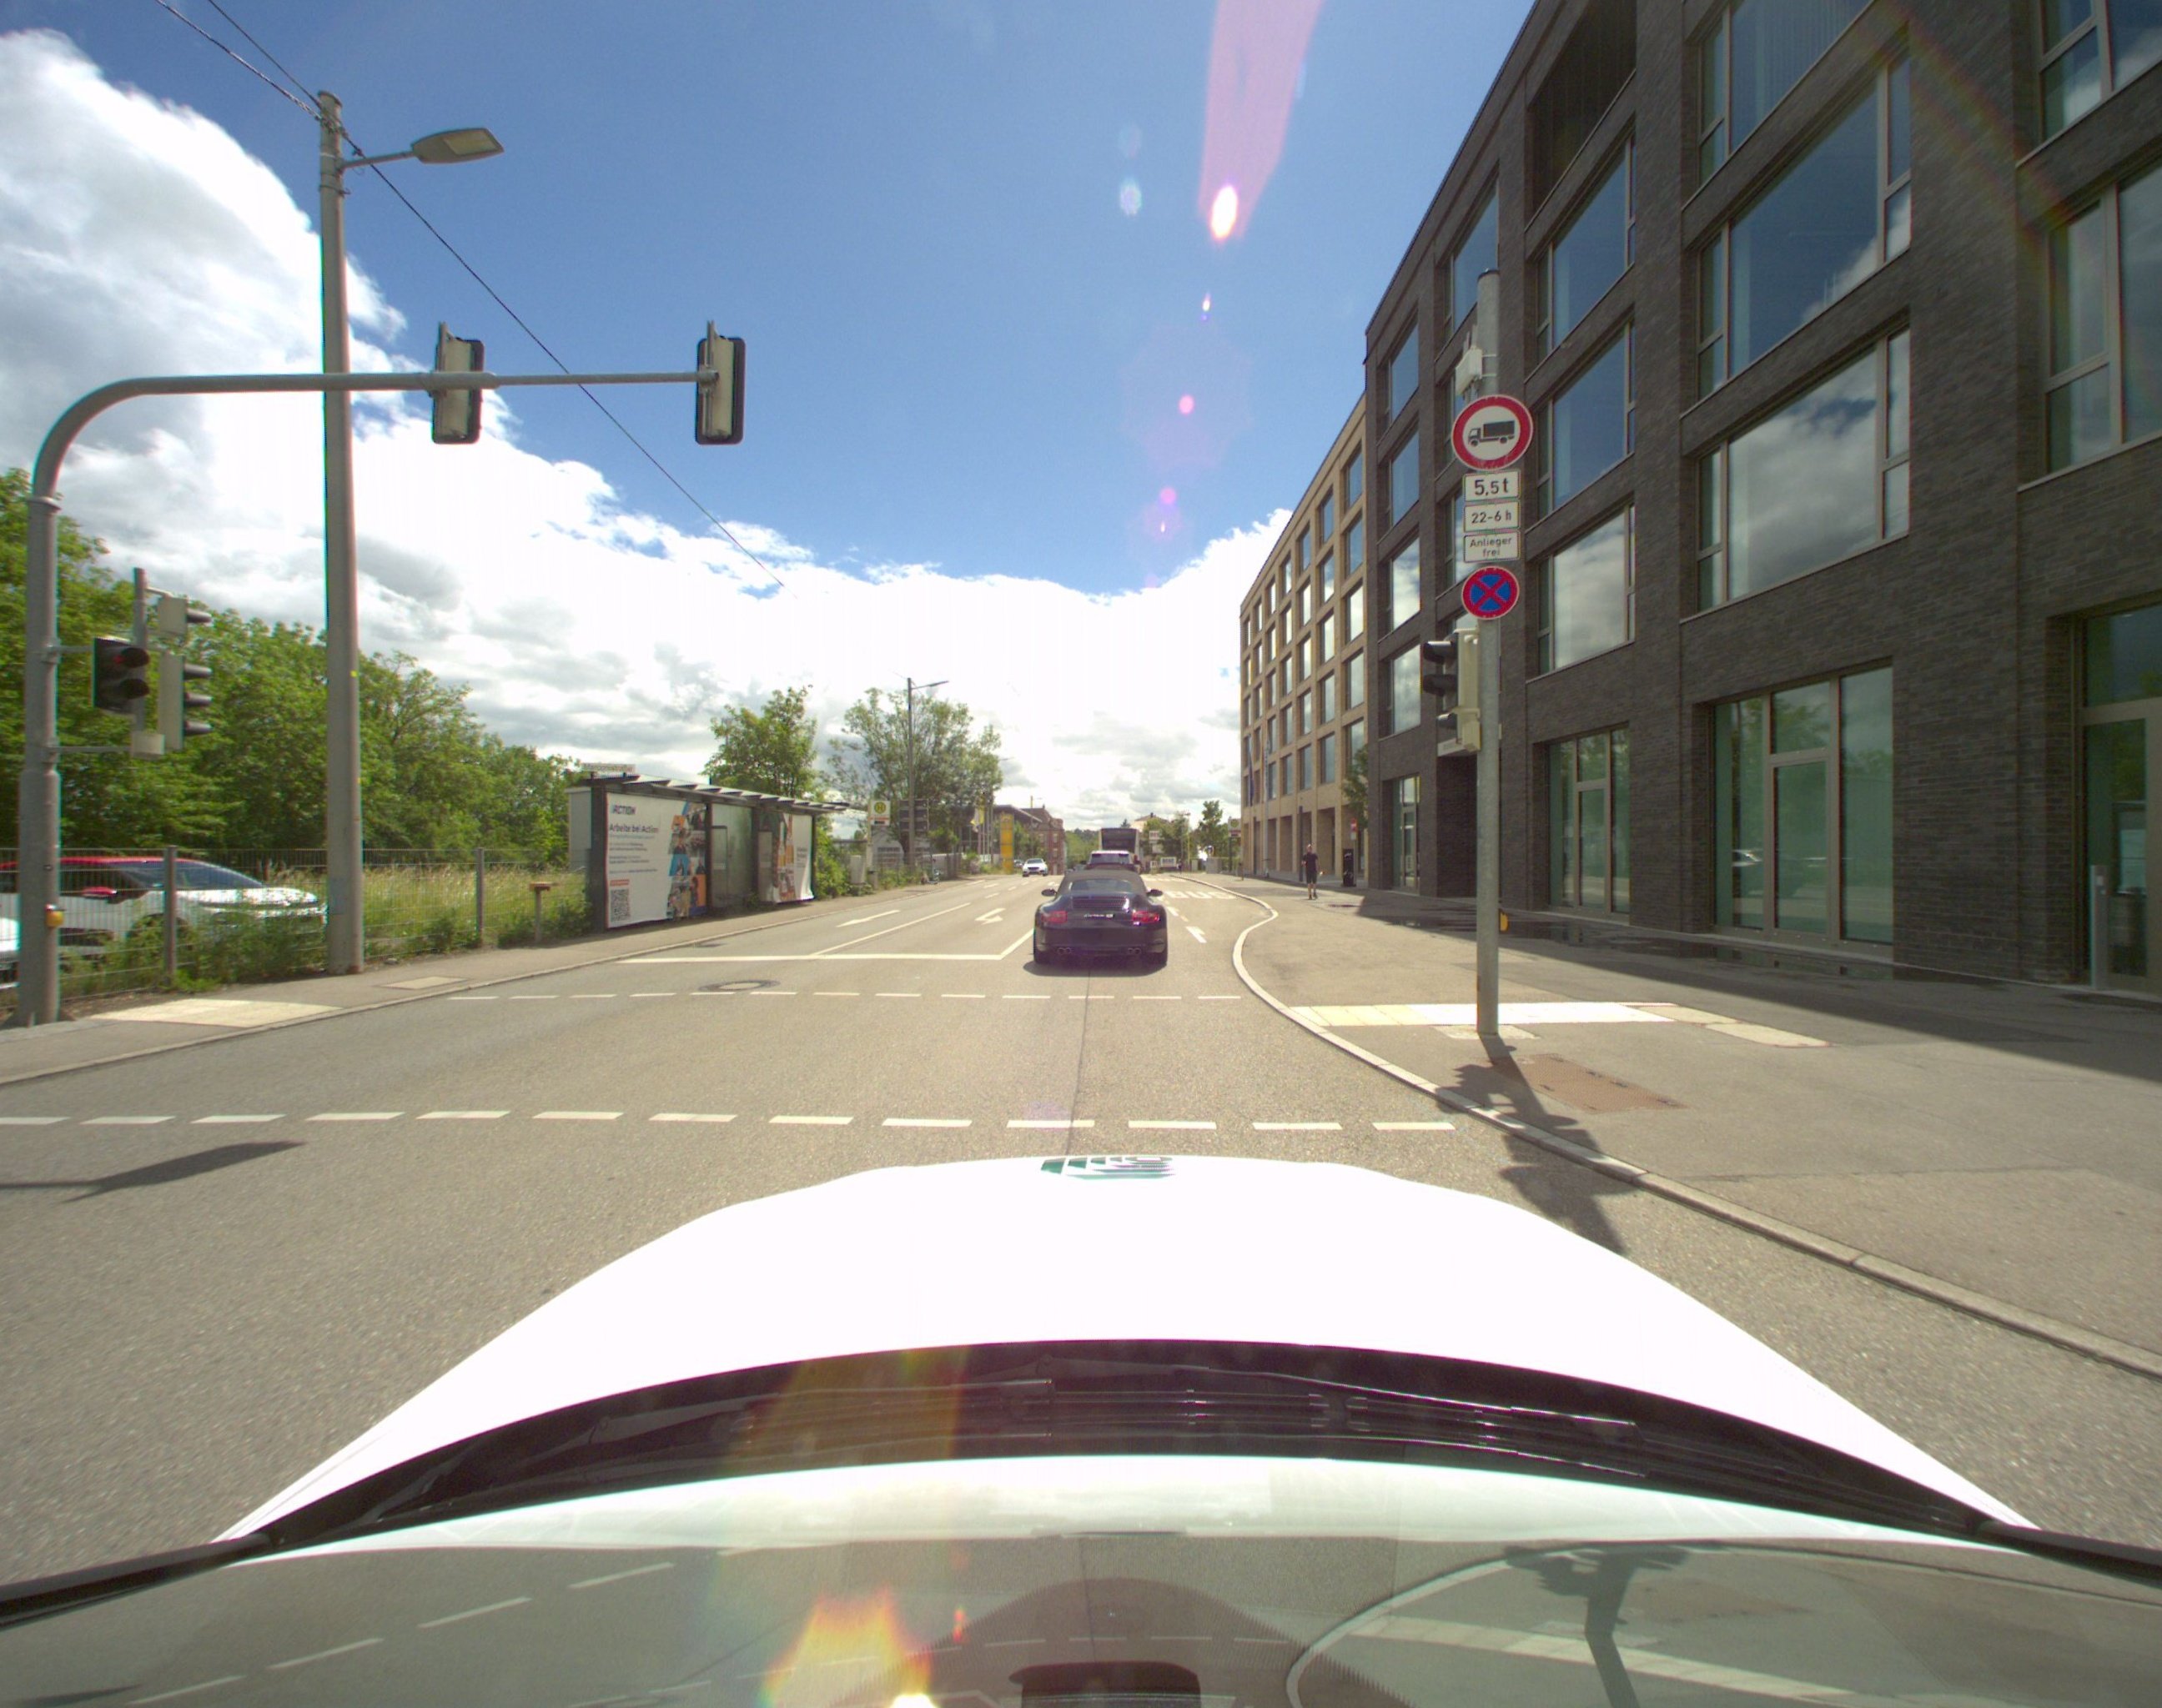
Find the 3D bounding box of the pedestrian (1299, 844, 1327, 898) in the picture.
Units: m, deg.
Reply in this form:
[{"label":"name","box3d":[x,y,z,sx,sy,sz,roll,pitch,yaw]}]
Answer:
[{"label":"pedestrian","box3d":[7.588,0.548,26.682,0.680,1.728,0.962,0,0,1]}]

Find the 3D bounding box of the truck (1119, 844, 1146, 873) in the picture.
[{"label":"truck","box3d":[5.738,0.493,91.292,2.703,3.054,7.715,-1,0,1]}]

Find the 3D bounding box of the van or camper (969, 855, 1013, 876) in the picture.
[{"label":"van or camper","box3d":[-11.043,1.351,100.081,5.009,2.531,2.318,0,0,0]}]

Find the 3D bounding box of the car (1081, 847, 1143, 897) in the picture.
[{"label":"car","box3d":[0.979,0.572,27.677,1.925,1.583,4.207,0,0,0]}]

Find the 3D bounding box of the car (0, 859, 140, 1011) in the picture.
[{"label":"car","box3d":[-12.184,0.791,7.835,4.086,1.419,1.917,-1,0,2]}]

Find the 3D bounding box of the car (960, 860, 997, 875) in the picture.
[{"label":"car","box3d":[-12.248,1.620,97.505,3.966,1.706,2.004,0,0,6]}]

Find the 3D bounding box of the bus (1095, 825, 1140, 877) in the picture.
[{"label":"bus","box3d":[2.592,-0.218,56.557,2.790,3.198,12.206,0,0,3]}]

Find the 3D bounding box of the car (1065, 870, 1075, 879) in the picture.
[{"label":"car","box3d":[-2.046,3.882,152.901,1.738,1.595,4.042,-3,-1,0]}]

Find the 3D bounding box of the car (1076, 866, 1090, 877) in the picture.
[{"label":"car","box3d":[0.253,2.387,111.301,1.823,1.509,4.275,-1,-2,0]}]

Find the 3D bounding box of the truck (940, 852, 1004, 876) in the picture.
[{"label":"truck","box3d":[-10.504,0.967,78.970,5.845,2.148,2.475,-1,-2,-2]}]

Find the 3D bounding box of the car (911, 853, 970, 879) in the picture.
[{"label":"car","box3d":[-10.867,0.917,63.248,4.148,2.013,2.198,0,0,-1]}]

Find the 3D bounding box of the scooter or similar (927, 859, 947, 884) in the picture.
[{"label":"scooter or similar","box3d":[-7.390,0.886,41.821,0.532,1.266,1.474,1,0,7]}]

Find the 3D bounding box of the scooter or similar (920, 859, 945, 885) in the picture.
[{"label":"scooter or similar","box3d":[-7.349,0.891,40.321,0.530,1.262,1.478,1,0,19]}]

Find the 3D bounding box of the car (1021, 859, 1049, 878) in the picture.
[{"label":"car","box3d":[-3.554,1.129,64.194,1.789,1.376,4.226,-2,0,2]}]

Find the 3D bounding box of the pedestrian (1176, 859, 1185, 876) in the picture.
[{"label":"pedestrian","box3d":[9.224,1.219,75.517,0.685,1.536,0.856,-1,-1,1]}]

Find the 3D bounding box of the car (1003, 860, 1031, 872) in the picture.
[{"label":"car","box3d":[-8.889,1.711,113.849,1.913,1.573,4.579,-1,-2,25]}]

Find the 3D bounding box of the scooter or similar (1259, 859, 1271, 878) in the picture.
[{"label":"scooter or similar","box3d":[11.331,0.879,50.105,0.425,1.153,1.404,-1,-1,1]}]

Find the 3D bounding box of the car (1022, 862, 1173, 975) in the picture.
[{"label":"car","box3d":[0.315,0.845,12.515,1.923,1.376,4.211,0,0,3]}]

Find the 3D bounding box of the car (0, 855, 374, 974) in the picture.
[{"label":"car","box3d":[-12.460,0.746,10.885,4.292,1.419,2.026,-1,0,3]}]
